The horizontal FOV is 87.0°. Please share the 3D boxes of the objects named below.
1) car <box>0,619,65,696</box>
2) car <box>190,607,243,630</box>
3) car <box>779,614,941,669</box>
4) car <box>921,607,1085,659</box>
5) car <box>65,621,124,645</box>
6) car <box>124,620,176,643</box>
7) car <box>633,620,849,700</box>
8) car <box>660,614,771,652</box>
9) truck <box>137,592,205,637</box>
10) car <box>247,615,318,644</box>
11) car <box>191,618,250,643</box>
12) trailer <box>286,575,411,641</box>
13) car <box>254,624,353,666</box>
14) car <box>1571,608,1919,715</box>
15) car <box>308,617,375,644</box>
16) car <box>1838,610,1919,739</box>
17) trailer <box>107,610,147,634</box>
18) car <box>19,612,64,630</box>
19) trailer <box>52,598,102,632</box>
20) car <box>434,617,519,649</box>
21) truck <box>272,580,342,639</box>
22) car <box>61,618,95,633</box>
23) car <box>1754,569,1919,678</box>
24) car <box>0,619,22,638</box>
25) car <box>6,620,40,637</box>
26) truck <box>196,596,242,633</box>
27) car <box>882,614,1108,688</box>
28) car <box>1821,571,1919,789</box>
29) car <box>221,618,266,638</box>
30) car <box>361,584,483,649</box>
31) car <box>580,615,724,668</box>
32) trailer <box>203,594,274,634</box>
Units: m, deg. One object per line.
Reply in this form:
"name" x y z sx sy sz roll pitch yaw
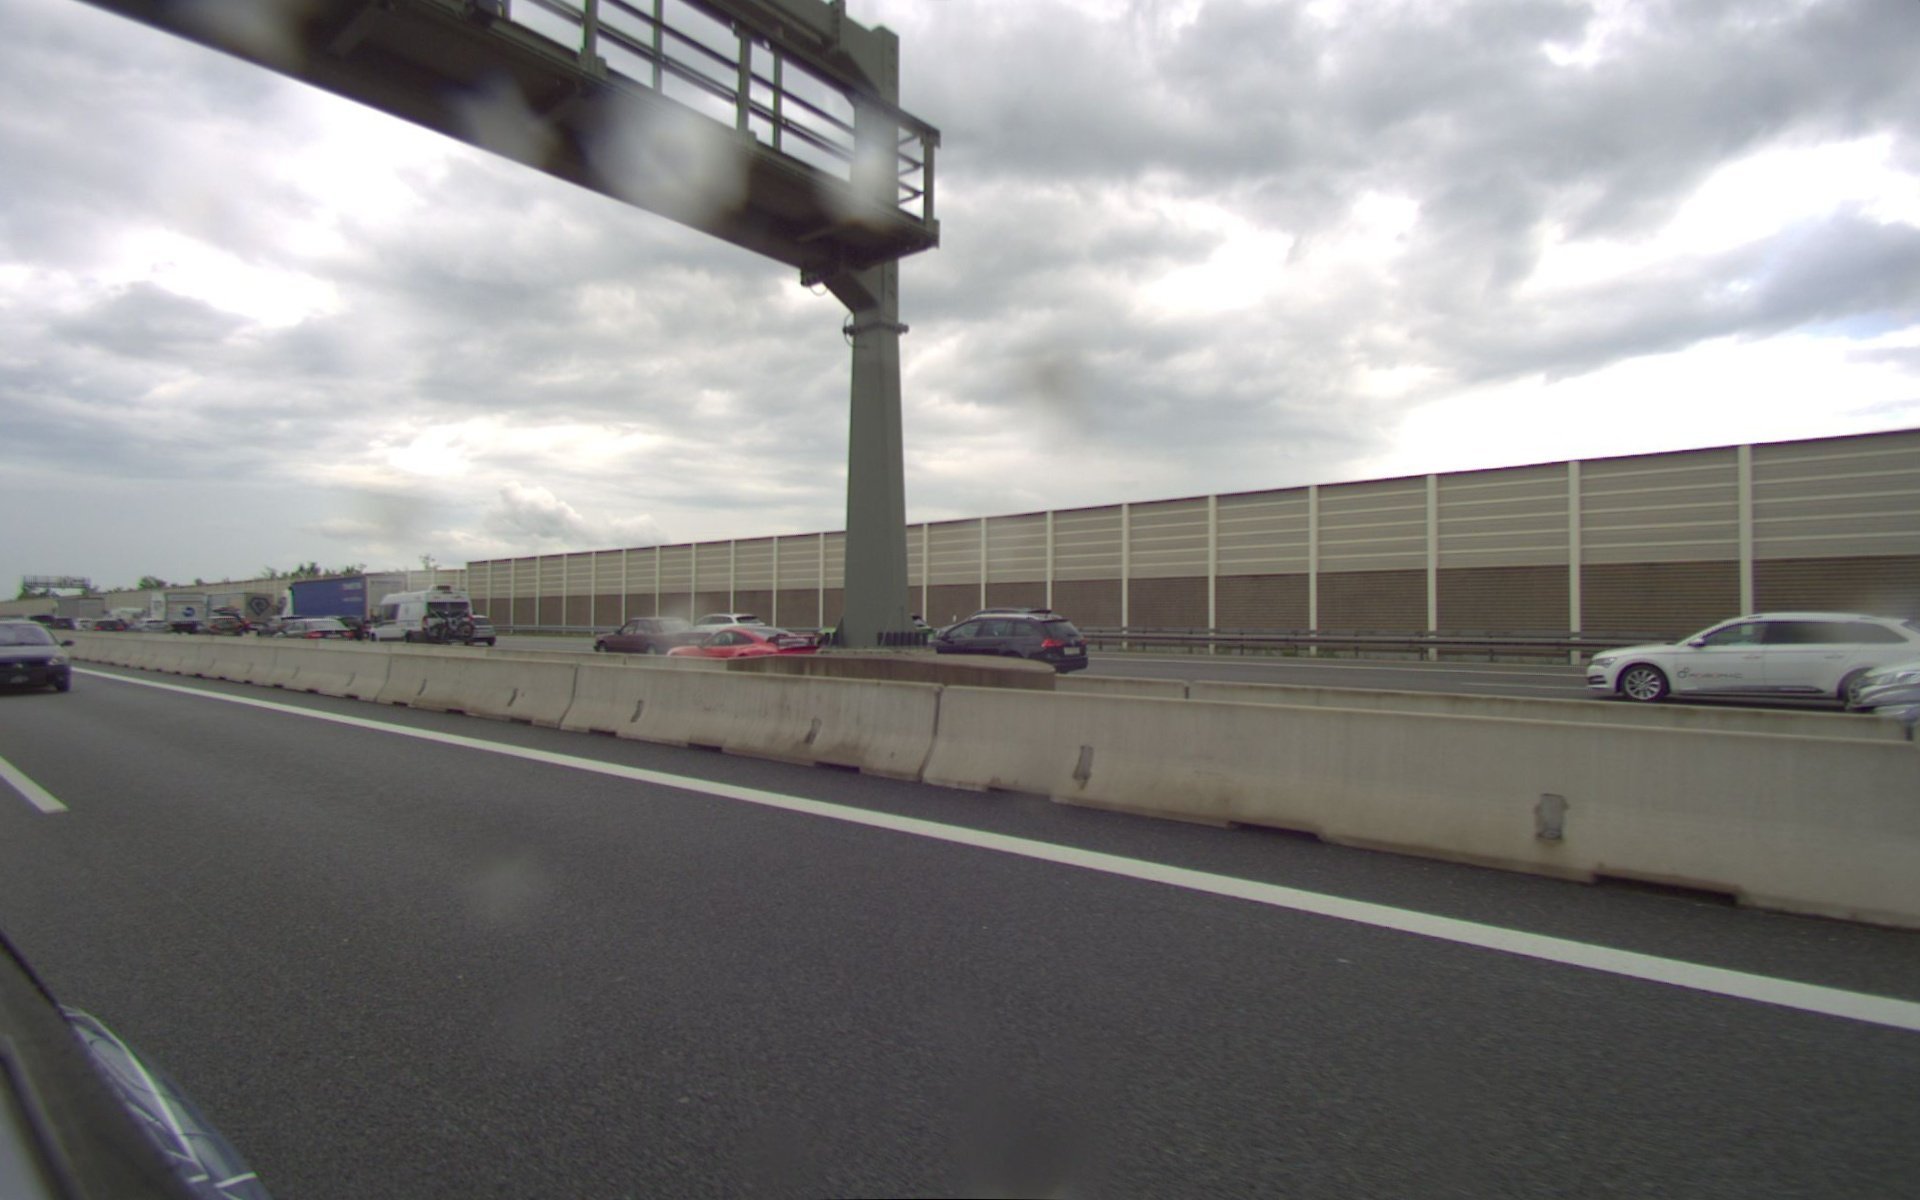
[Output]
"car" -19.116 1.094 20.039 3.997 1.413 1.558 -1 -1 40
"car" -55.038 1.374 74.864 4.993 1.612 2.039 -1 -1 40
"car" -3.073 1.186 30.345 4.996 1.502 2.038 -1 -1 42
"car" 1.257 0.972 31.608 4.996 1.502 2.038 -1 -1 42
"car" -56.555 2.141 66.086 4.992 1.502 2.040 -1 -1 39
"car" -59.319 2.277 74.098 4.993 1.612 2.039 -1 -1 40
"car" -4.819 1.191 21.795 4.996 1.502 2.038 -1 -1 42
"car" -10.242 1.337 42.208 4.996 1.502 2.038 -1 -1 42
"truck" -67.121 1.264 86.014 9.990 3.554 2.668 -1 0 41
"car" -36.387 1.546 54.297 4.996 1.502 2.038 -1 -1 42
"car" -46.788 1.912 63.989 4.996 1.502 2.038 -1 -1 42
"trailer" -41.617 0.633 68.523 14.440 4.062 2.733 -1 -1 40
"car" -25.762 1.704 39.627 4.996 1.502 2.038 -1 -1 42
"car" 12.896 0.894 16.246 4.996 1.502 2.038 -1 -1 42
"car" -36.597 1.769 59.816 4.996 1.502 2.038 -1 -1 42
"car" 13.205 0.860 11.379 4.996 1.502 2.038 -1 -1 42
"trailer" -92.106 2.439 111.849 6.080 2.514 2.434 -2 -2 40
"car" -72.913 1.672 80.345 5.594 1.309 1.854 -2 -1 39
"trailer" -113.245 1.964 129.715 14.442 4.062 2.733 -1 -1 40
"car" -23.716 1.577 49.594 4.996 1.502 2.038 -1 -1 42
"truck" -47.421 0.713 73.439 5.721 4.065 2.717 -1 -1 40
"car" -92.085 2.674 105.605 4.995 1.502 2.039 -1 -1 41
"car" 17.507 0.417 18.175 4.996 1.894 2.038 -1 -1 42
"car" -88.961 2.654 94.255 4.217 1.712 1.854 -2 -1 39
"car" -103.118 3.132 111.346 4.772 1.830 2.041 -2 -1 38
"truck" -83.326 1.638 113.736 5.721 4.065 2.888 -1 -1 40
"car" 0.682 1.066 22.913 4.996 1.502 2.038 -1 -1 42
"car" 10.395 0.681 8.324 4.996 1.894 2.038 -1 -1 42
"car" -61.736 2.387 87.170 4.993 1.612 2.039 -1 -1 40
"car" -23.010 0.681 43.138 7.085 2.569 2.358 -1 -1 42
"car" -9.686 1.239 31.573 4.996 1.502 2.038 -1 -1 42
"trailer" -77.950 1.551 109.194 13.849 4.062 2.906 -1 -1 40
